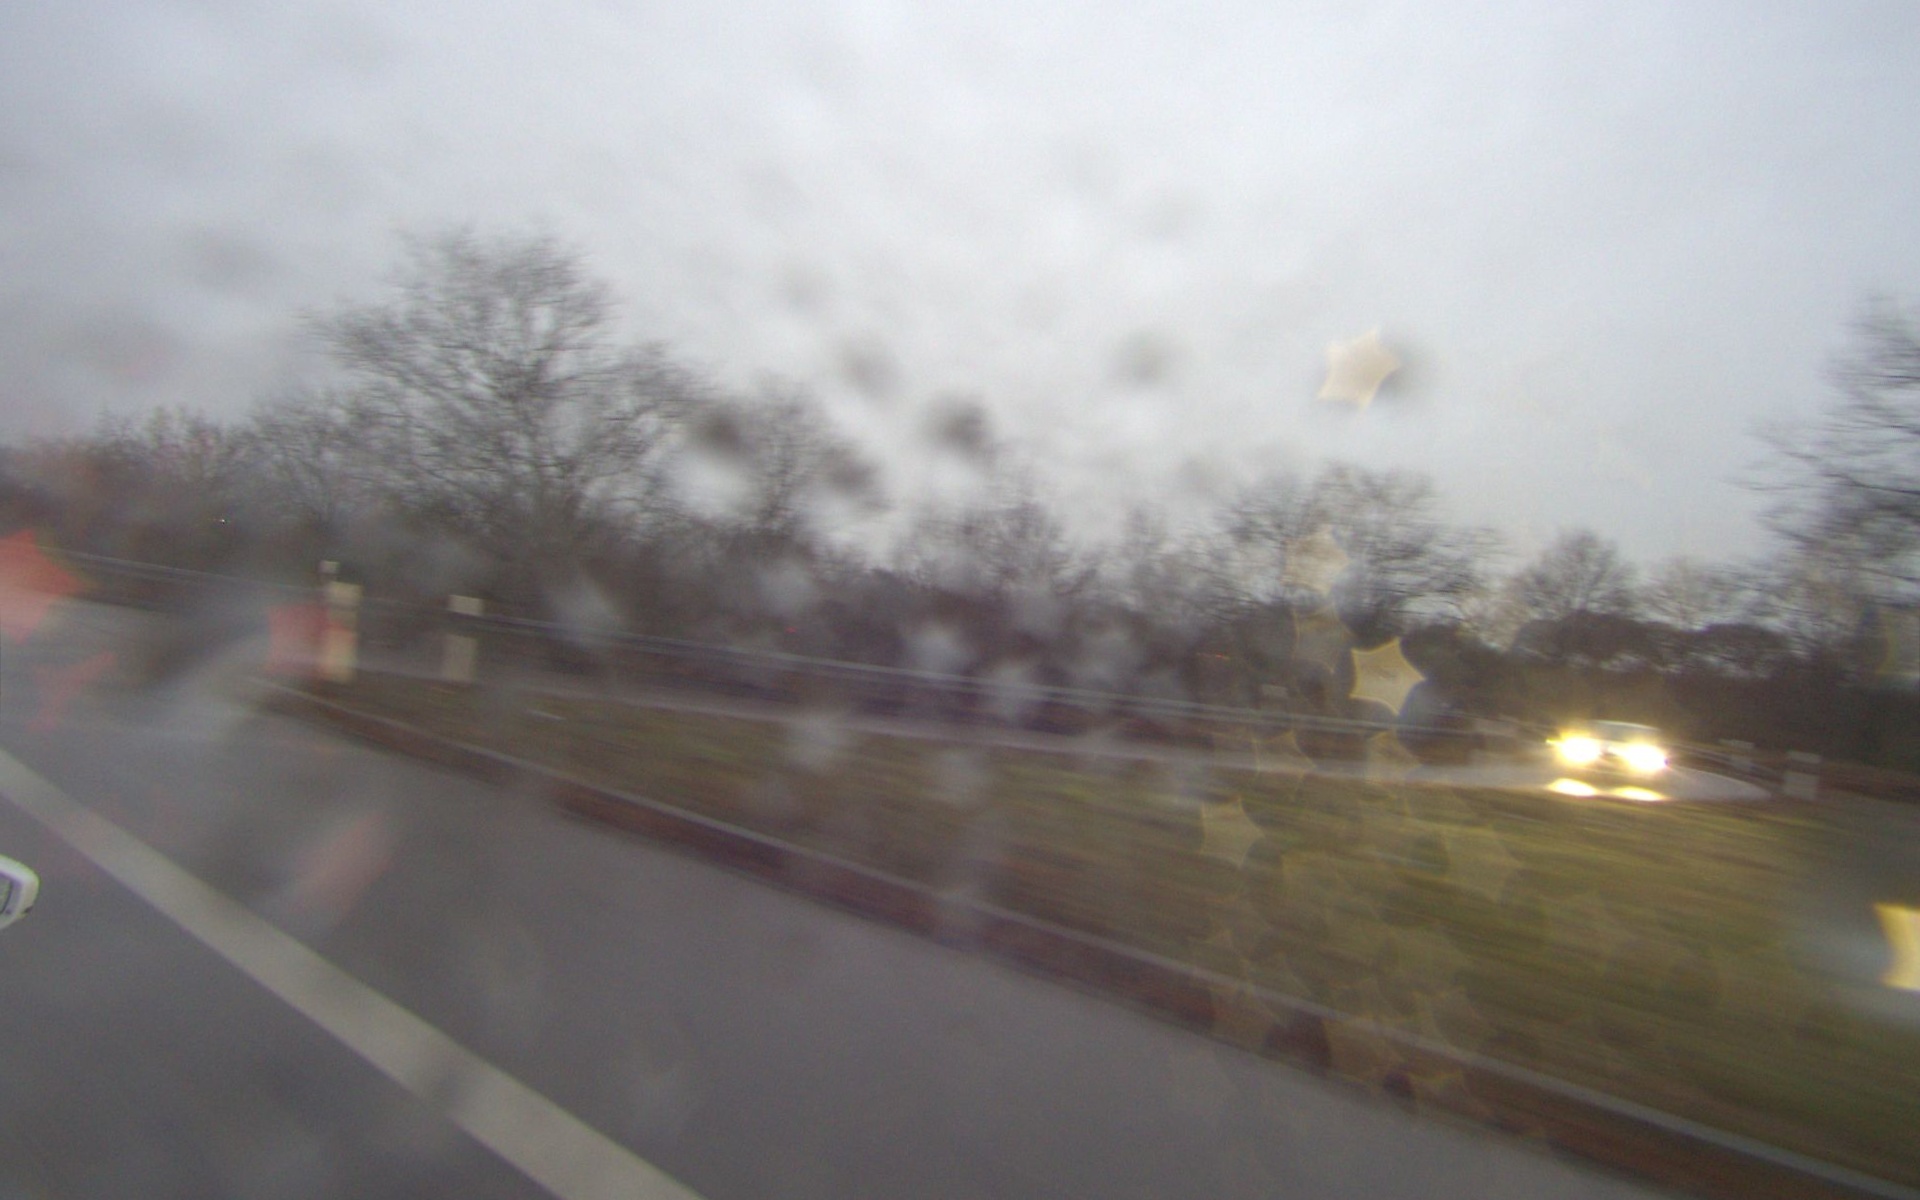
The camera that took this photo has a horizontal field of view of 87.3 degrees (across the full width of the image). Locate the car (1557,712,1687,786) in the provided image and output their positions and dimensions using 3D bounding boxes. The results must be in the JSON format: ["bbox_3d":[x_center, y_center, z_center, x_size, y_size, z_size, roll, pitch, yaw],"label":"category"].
[{"bbox_3d":[16.431,3.657,24.873,1.910,1.374,4.376,6,-2,43],"label":"car"}]
